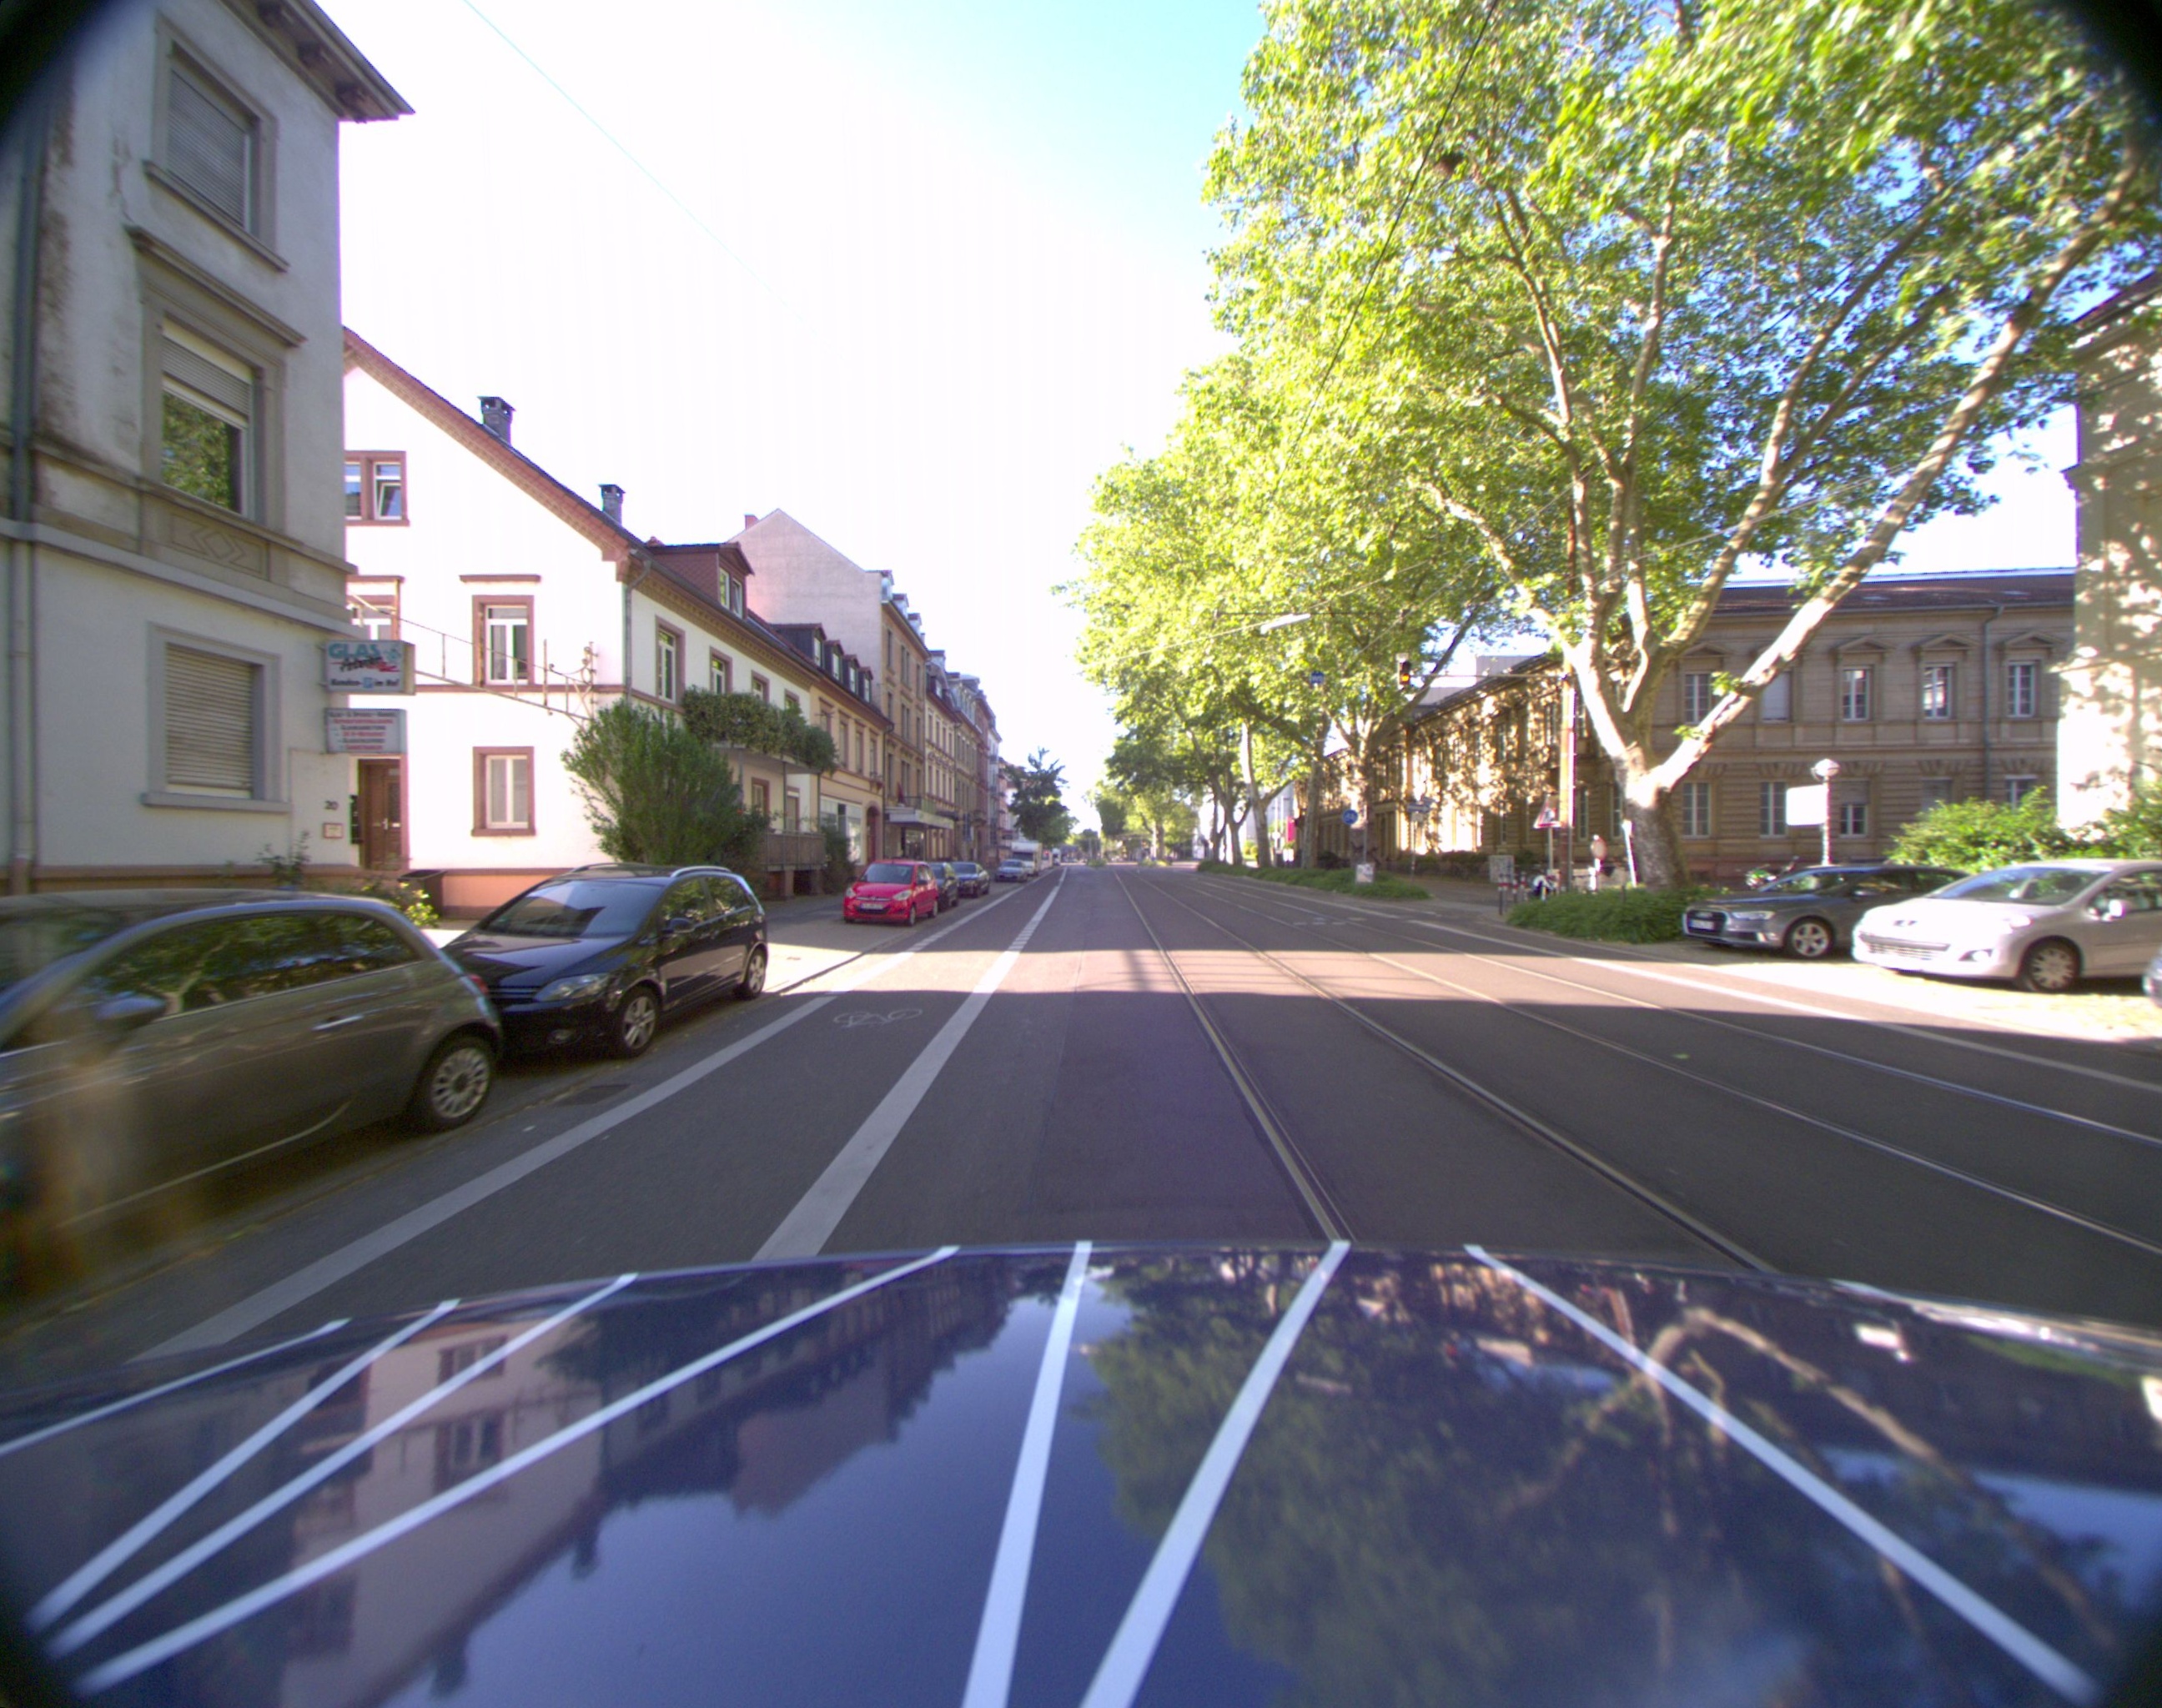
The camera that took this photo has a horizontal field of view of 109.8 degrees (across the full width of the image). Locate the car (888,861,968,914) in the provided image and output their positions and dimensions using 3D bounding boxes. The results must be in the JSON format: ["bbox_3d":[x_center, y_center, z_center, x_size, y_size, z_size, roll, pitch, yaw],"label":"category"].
[{"bbox_3d":[-4.645,0.970,23.617,1.655,1.448,3.868,0,1,1],"label":"car"}]

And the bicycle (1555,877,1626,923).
[{"bbox_3d":[11.798,1.040,17.668,0.542,0.935,2.035,-1,0,8],"label":"bicycle"}]

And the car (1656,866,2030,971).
[{"bbox_3d":[11.631,0.942,11.832,3.929,1.324,1.847,-2,1,1],"label":"car"}]

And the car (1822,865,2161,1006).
[{"bbox_3d":[11.834,0.907,9.211,3.931,1.444,1.800,-1,1,0],"label":"car"}]

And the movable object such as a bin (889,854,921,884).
[{"bbox_3d":[-9.135,0.766,39.434,1.296,1.511,1.286,-1,1,1],"label":"movable object such as a bin"}]

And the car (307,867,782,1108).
[{"bbox_3d":[-4.667,1.005,7.482,1.885,1.577,3.932,3,1,-1],"label":"car"}]

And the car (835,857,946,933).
[{"bbox_3d":[-4.618,0.938,18.930,1.638,1.538,3.576,5,1,2],"label":"car"}]

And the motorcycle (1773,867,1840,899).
[{"bbox_3d":[24.268,0.954,25.467,0.721,0.971,1.957,-2,1,13],"label":"motorcycle"}]

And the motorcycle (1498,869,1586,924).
[{"bbox_3d":[10.705,0.961,17.759,0.886,1.140,2.392,-1,0,8],"label":"motorcycle"}]

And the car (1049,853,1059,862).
[{"bbox_3d":[-4.517,0.604,128.103,1.656,1.439,3.800,1,0,-1],"label":"car"}]

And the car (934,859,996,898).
[{"bbox_3d":[-4.594,0.938,30.689,1.698,1.384,4.494,1,0,2],"label":"car"}]

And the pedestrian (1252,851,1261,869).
[{"bbox_3d":[18.329,0.604,79.180,0.721,1.839,0.837,-1,1,0],"label":"pedestrian"}]

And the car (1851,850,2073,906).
[{"bbox_3d":[23.124,0.646,20.057,3.785,1.409,1.695,0,-2,1],"label":"car"}]

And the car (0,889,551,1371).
[{"bbox_3d":[-4.630,1.027,3.430,1.803,1.448,3.767,3,1,0],"label":"car"}]

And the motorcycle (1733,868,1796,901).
[{"bbox_3d":[23.039,1.009,25.668,0.721,0.971,1.957,-2,1,13],"label":"motorcycle"}]

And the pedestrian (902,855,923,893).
[{"bbox_3d":[-6.764,0.788,30.491,0.662,1.496,0.866,0,1,0],"label":"pedestrian"}]

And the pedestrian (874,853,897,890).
[{"bbox_3d":[-7.819,0.695,30.411,0.659,1.474,0.785,-1,1,0],"label":"pedestrian"}]

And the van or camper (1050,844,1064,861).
[{"bbox_3d":[-4.380,-0.229,138.313,2.173,3.074,7.290,1,0,1],"label":"van or camper"}]

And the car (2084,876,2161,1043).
[{"bbox_3d":[11.513,0.931,6.305,3.929,1.454,1.805,-1,1,1],"label":"car"}]

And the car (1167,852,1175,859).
[{"bbox_3d":[21.333,0.451,180.093,1.870,1.620,4.562,0,0,5],"label":"car"}]

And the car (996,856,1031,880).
[{"bbox_3d":[-4.387,0.910,49.808,1.814,1.426,4.664,1,0,0],"label":"car"}]

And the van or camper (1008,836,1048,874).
[{"bbox_3d":[-4.395,0.047,64.329,2.483,2.955,7.884,3,1,2],"label":"van or camper"}]

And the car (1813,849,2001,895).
[{"bbox_3d":[27.209,0.579,25.168,3.927,1.324,1.848,-2,1,9],"label":"car"}]

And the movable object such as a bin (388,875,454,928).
[{"bbox_3d":[-14.144,1.000,16.310,0.630,1.022,0.793,-1,5,-1],"label":"movable object such as a bin"}]
